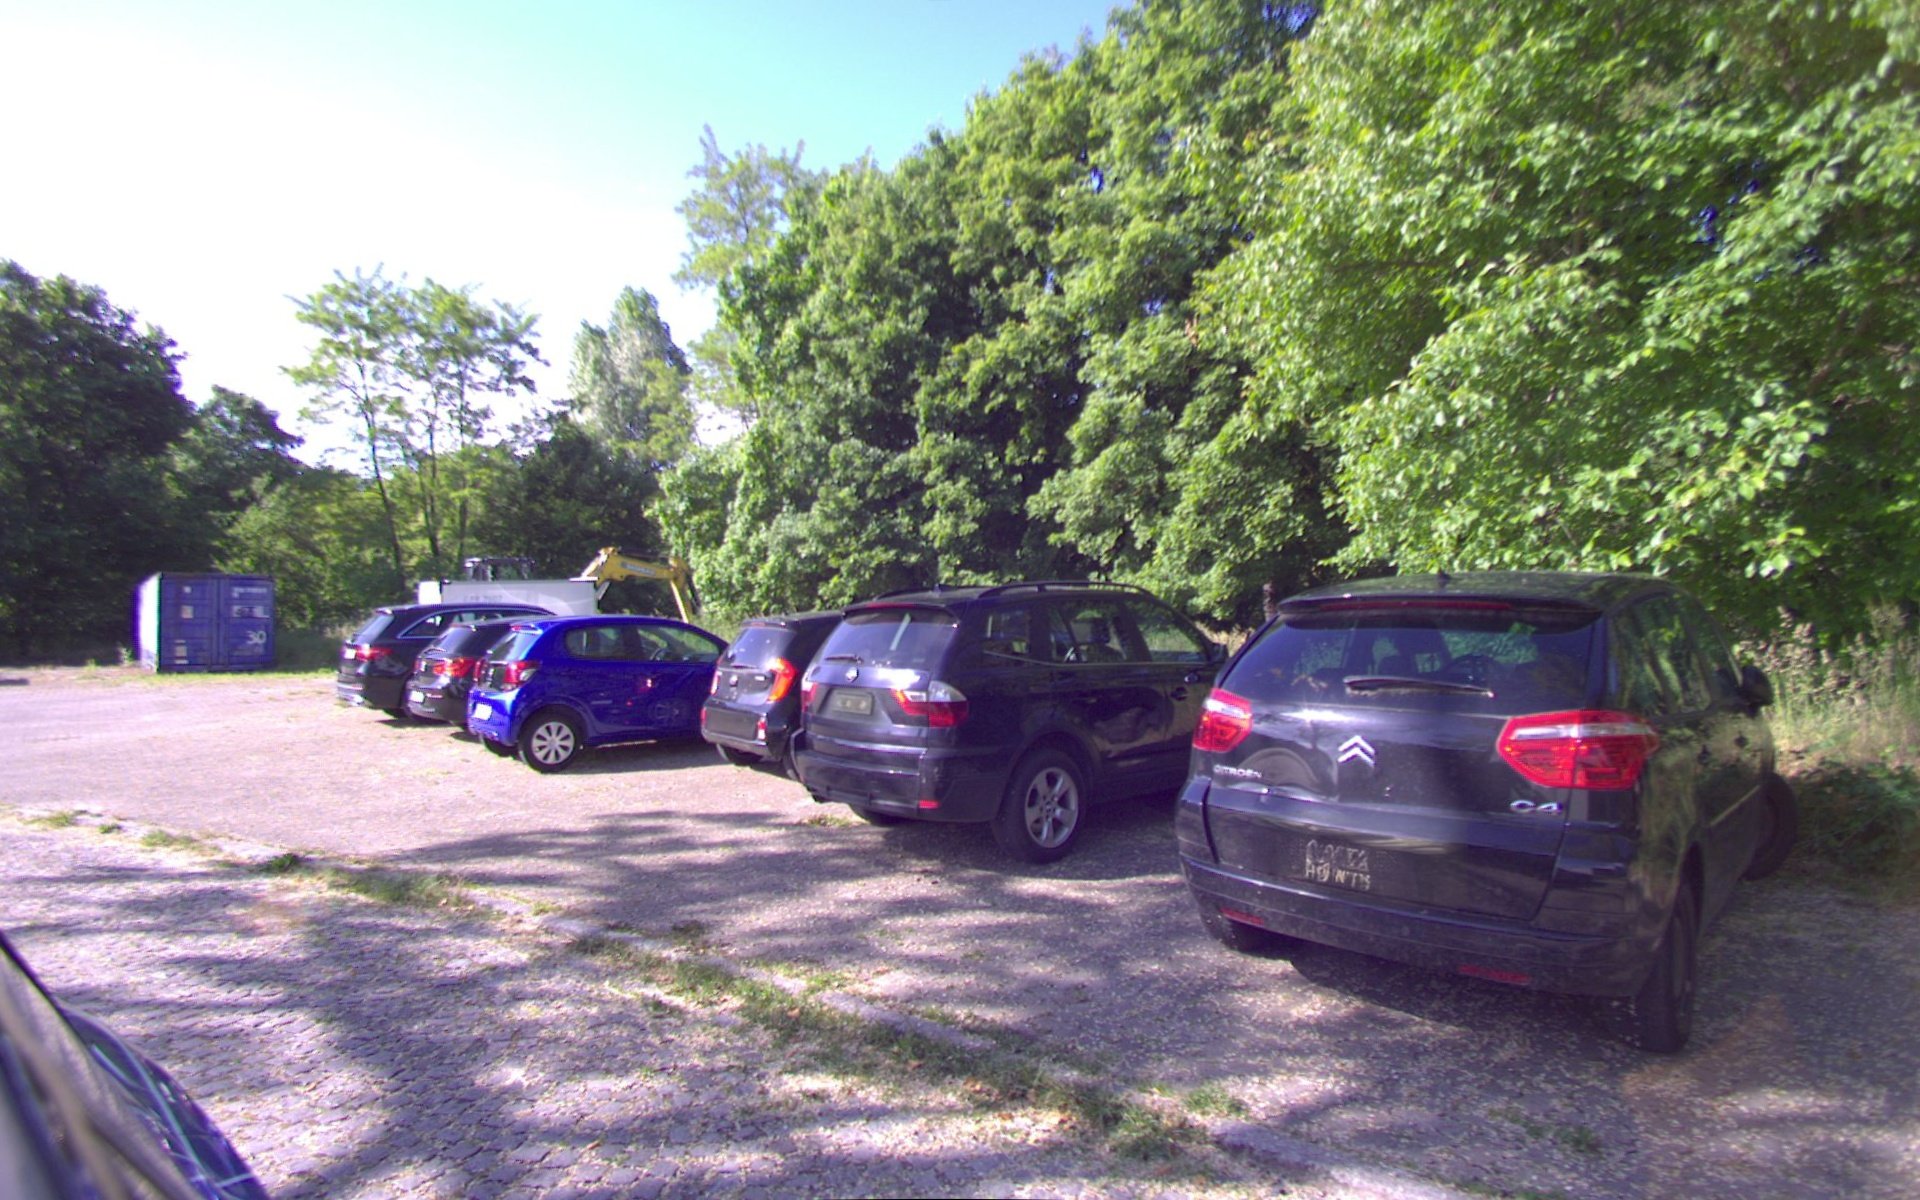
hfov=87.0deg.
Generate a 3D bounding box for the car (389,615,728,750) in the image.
[{"bbox_3d":[-5.010,0.940,12.837,3.606,1.462,1.837,1,-2,-41],"label":"car"}]

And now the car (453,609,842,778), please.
[{"bbox_3d":[-3.258,0.877,10.846,3.605,1.504,1.717,1,-2,-39],"label":"car"}]

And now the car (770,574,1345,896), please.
[{"bbox_3d":[0.904,0.697,7.334,4.126,1.668,1.820,-1,-1,-42],"label":"car"}]

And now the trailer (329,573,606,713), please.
[{"bbox_3d":[-8.266,0.647,17.151,3.911,2.110,1.642,-1,-1,-41],"label":"trailer"}]

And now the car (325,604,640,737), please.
[{"bbox_3d":[-6.788,0.913,14.532,3.760,1.653,1.871,0,-2,-39],"label":"car"}]

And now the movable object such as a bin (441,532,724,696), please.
[{"bbox_3d":[-7.622,0.306,20.739,5.080,2.988,2.004,1,-2,-37],"label":"movable object such as a bin"}]

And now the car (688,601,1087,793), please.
[{"bbox_3d":[-0.635,0.813,9.778,3.493,1.527,1.682,1,-2,-36],"label":"car"}]

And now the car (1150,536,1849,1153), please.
[{"bbox_3d":[2.896,0.628,4.875,1.794,1.664,4.237,-2,0,45],"label":"car"}]
